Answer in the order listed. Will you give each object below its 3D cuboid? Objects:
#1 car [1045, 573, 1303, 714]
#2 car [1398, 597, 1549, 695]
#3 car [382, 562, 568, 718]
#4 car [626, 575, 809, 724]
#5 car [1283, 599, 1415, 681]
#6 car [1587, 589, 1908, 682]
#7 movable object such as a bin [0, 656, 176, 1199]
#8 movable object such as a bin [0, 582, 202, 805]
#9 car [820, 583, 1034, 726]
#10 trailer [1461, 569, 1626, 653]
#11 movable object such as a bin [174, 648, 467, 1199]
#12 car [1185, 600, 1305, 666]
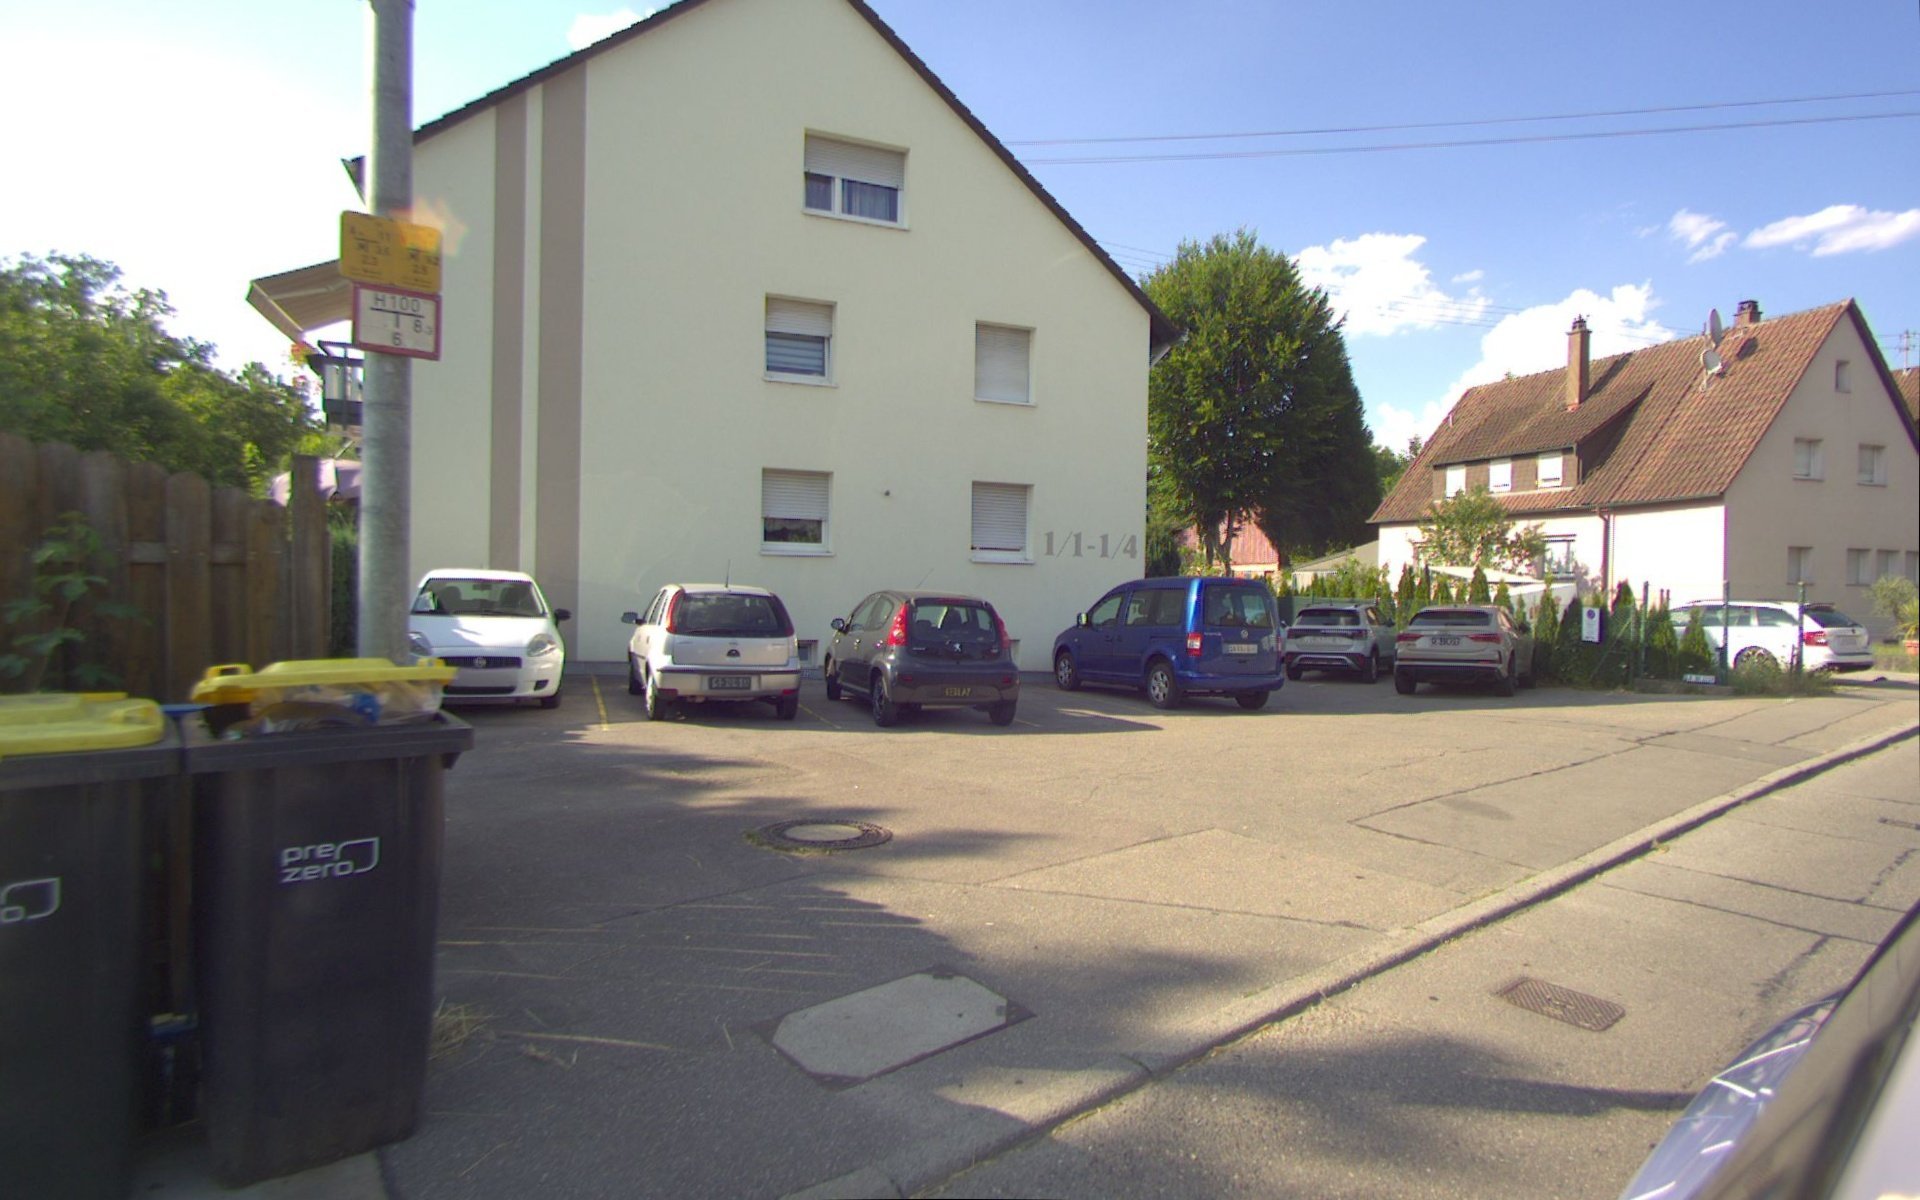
[{"bbox_3d":[3.026,0.525,15.303,1.730,1.809,4.223,1,1,-22],"label":"car"},{"bbox_3d":[9.301,0.745,18.165,1.690,1.539,4.219,-2,-1,37],"label":"car"},{"bbox_3d":[-5.473,0.348,11.557,1.602,1.468,3.762,1,1,-25],"label":"car"},{"bbox_3d":[-2.904,0.485,11.695,1.543,1.469,3.143,2,0,-22],"label":"car"},{"bbox_3d":[8.241,0.773,21.266,1.754,1.564,3.630,0,0,35],"label":"car"},{"bbox_3d":[14.394,0.562,18.874,1.694,1.476,4.488,1,1,-21],"label":"car"},{"bbox_3d":[-1.993,0.720,2.109,0.529,1.157,0.479,1,1,-41],"label":"movable object such as a bin"},{"bbox_3d":[-5.895,0.573,6.860,1.024,1.354,1.157,2,0,-29],"label":"movable object such as a bin"},{"bbox_3d":[-0.526,0.563,12.178,1.615,1.469,3.226,2,0,-20],"label":"car"},{"bbox_3d":[13.420,0.255,23.323,3.149,1.774,1.529,2,0,-18],"label":"trailer"},{"bbox_3d":[-1.583,0.719,2.502,0.529,1.157,0.479,1,1,-41],"label":"movable object such as a bin"},{"bbox_3d":[6.962,0.748,24.540,1.669,1.425,3.630,1,1,35],"label":"car"}]
